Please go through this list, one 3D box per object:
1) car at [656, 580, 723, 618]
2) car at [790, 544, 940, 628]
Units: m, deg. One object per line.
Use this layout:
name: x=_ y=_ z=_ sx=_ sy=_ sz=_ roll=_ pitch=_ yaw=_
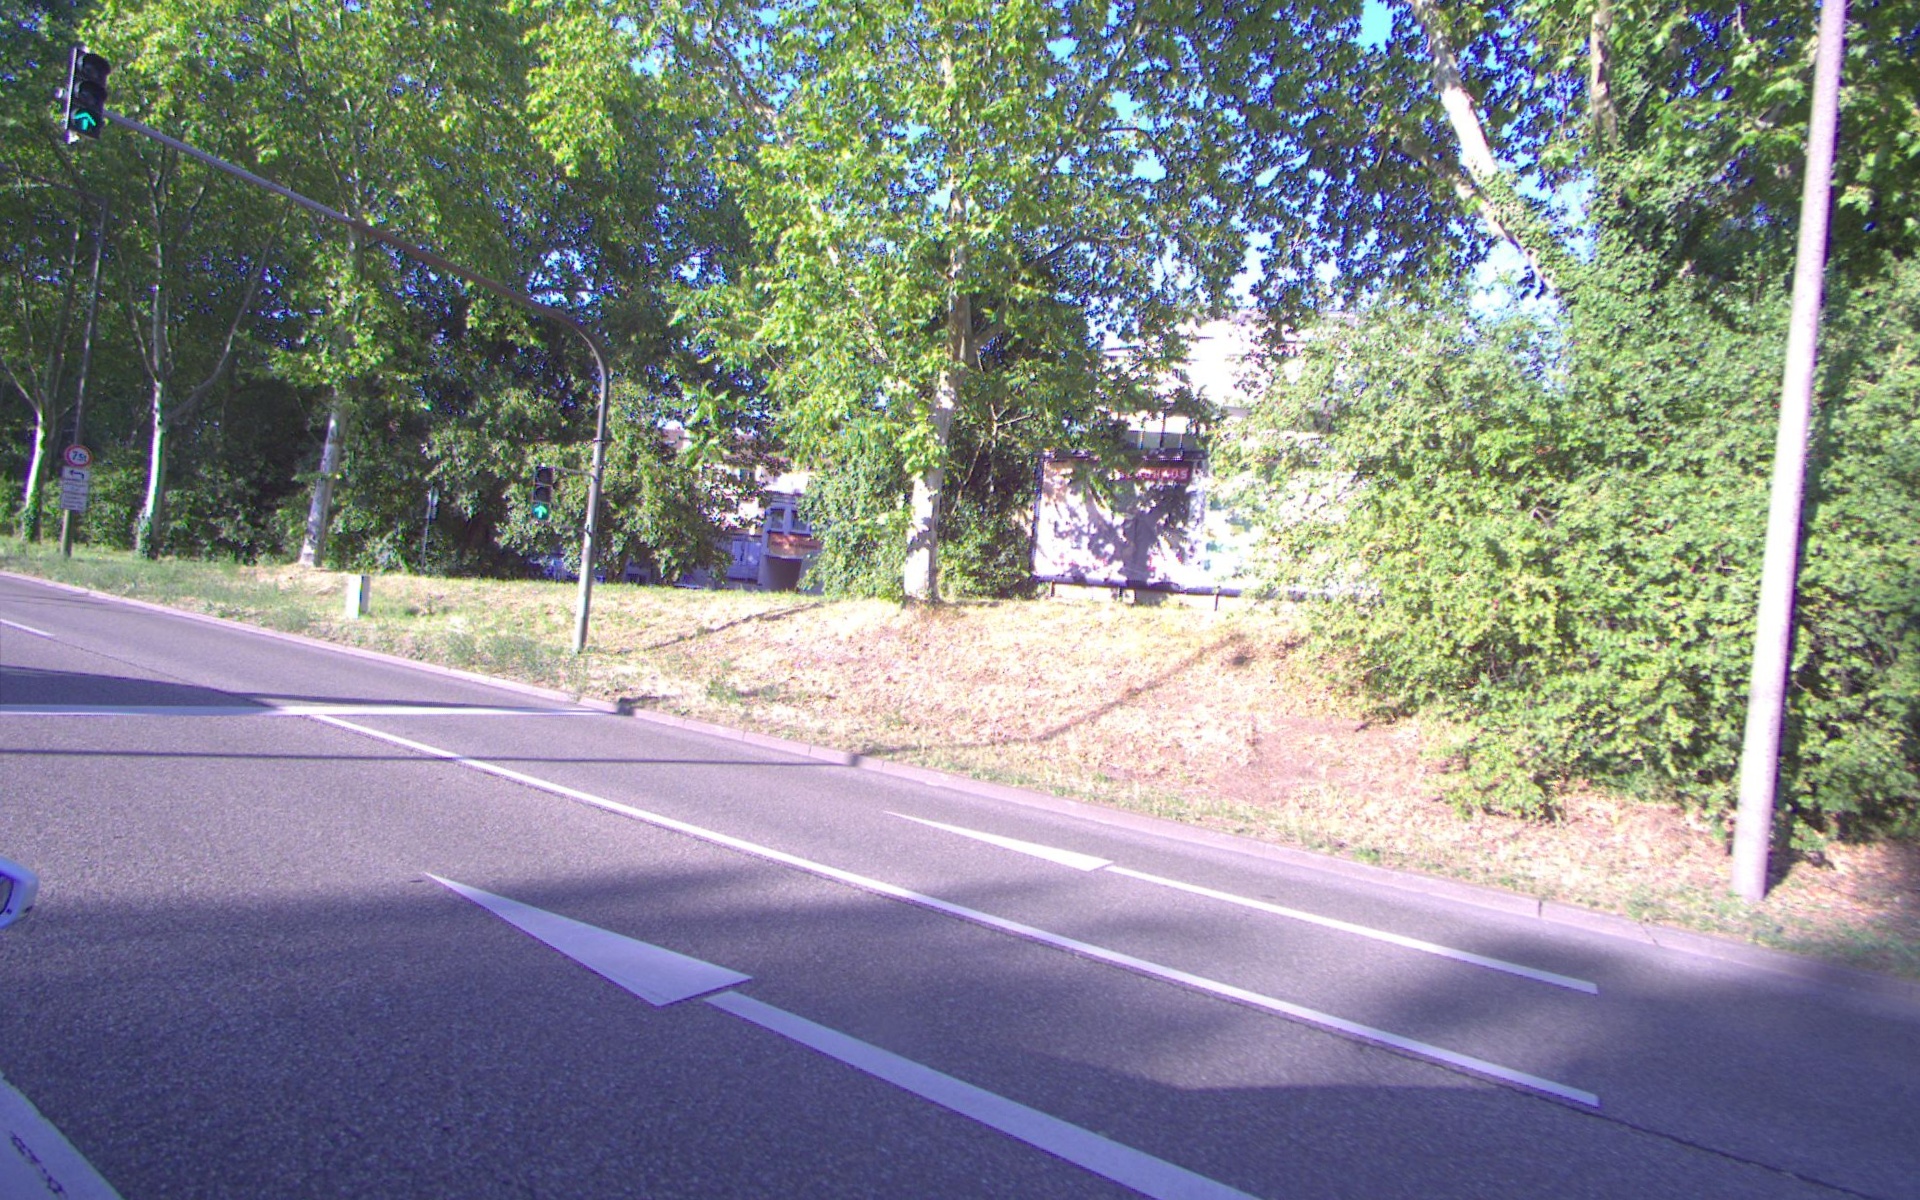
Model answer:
car: x=-15.957 y=-0.045 z=59.463 sx=1.882 sy=1.725 sz=4.005 roll=6 pitch=-2 yaw=16
car: x=-3.577 y=-0.552 z=37.124 sx=5.543 sy=2.542 sz=1.801 roll=5 pitch=-2 yaw=37
